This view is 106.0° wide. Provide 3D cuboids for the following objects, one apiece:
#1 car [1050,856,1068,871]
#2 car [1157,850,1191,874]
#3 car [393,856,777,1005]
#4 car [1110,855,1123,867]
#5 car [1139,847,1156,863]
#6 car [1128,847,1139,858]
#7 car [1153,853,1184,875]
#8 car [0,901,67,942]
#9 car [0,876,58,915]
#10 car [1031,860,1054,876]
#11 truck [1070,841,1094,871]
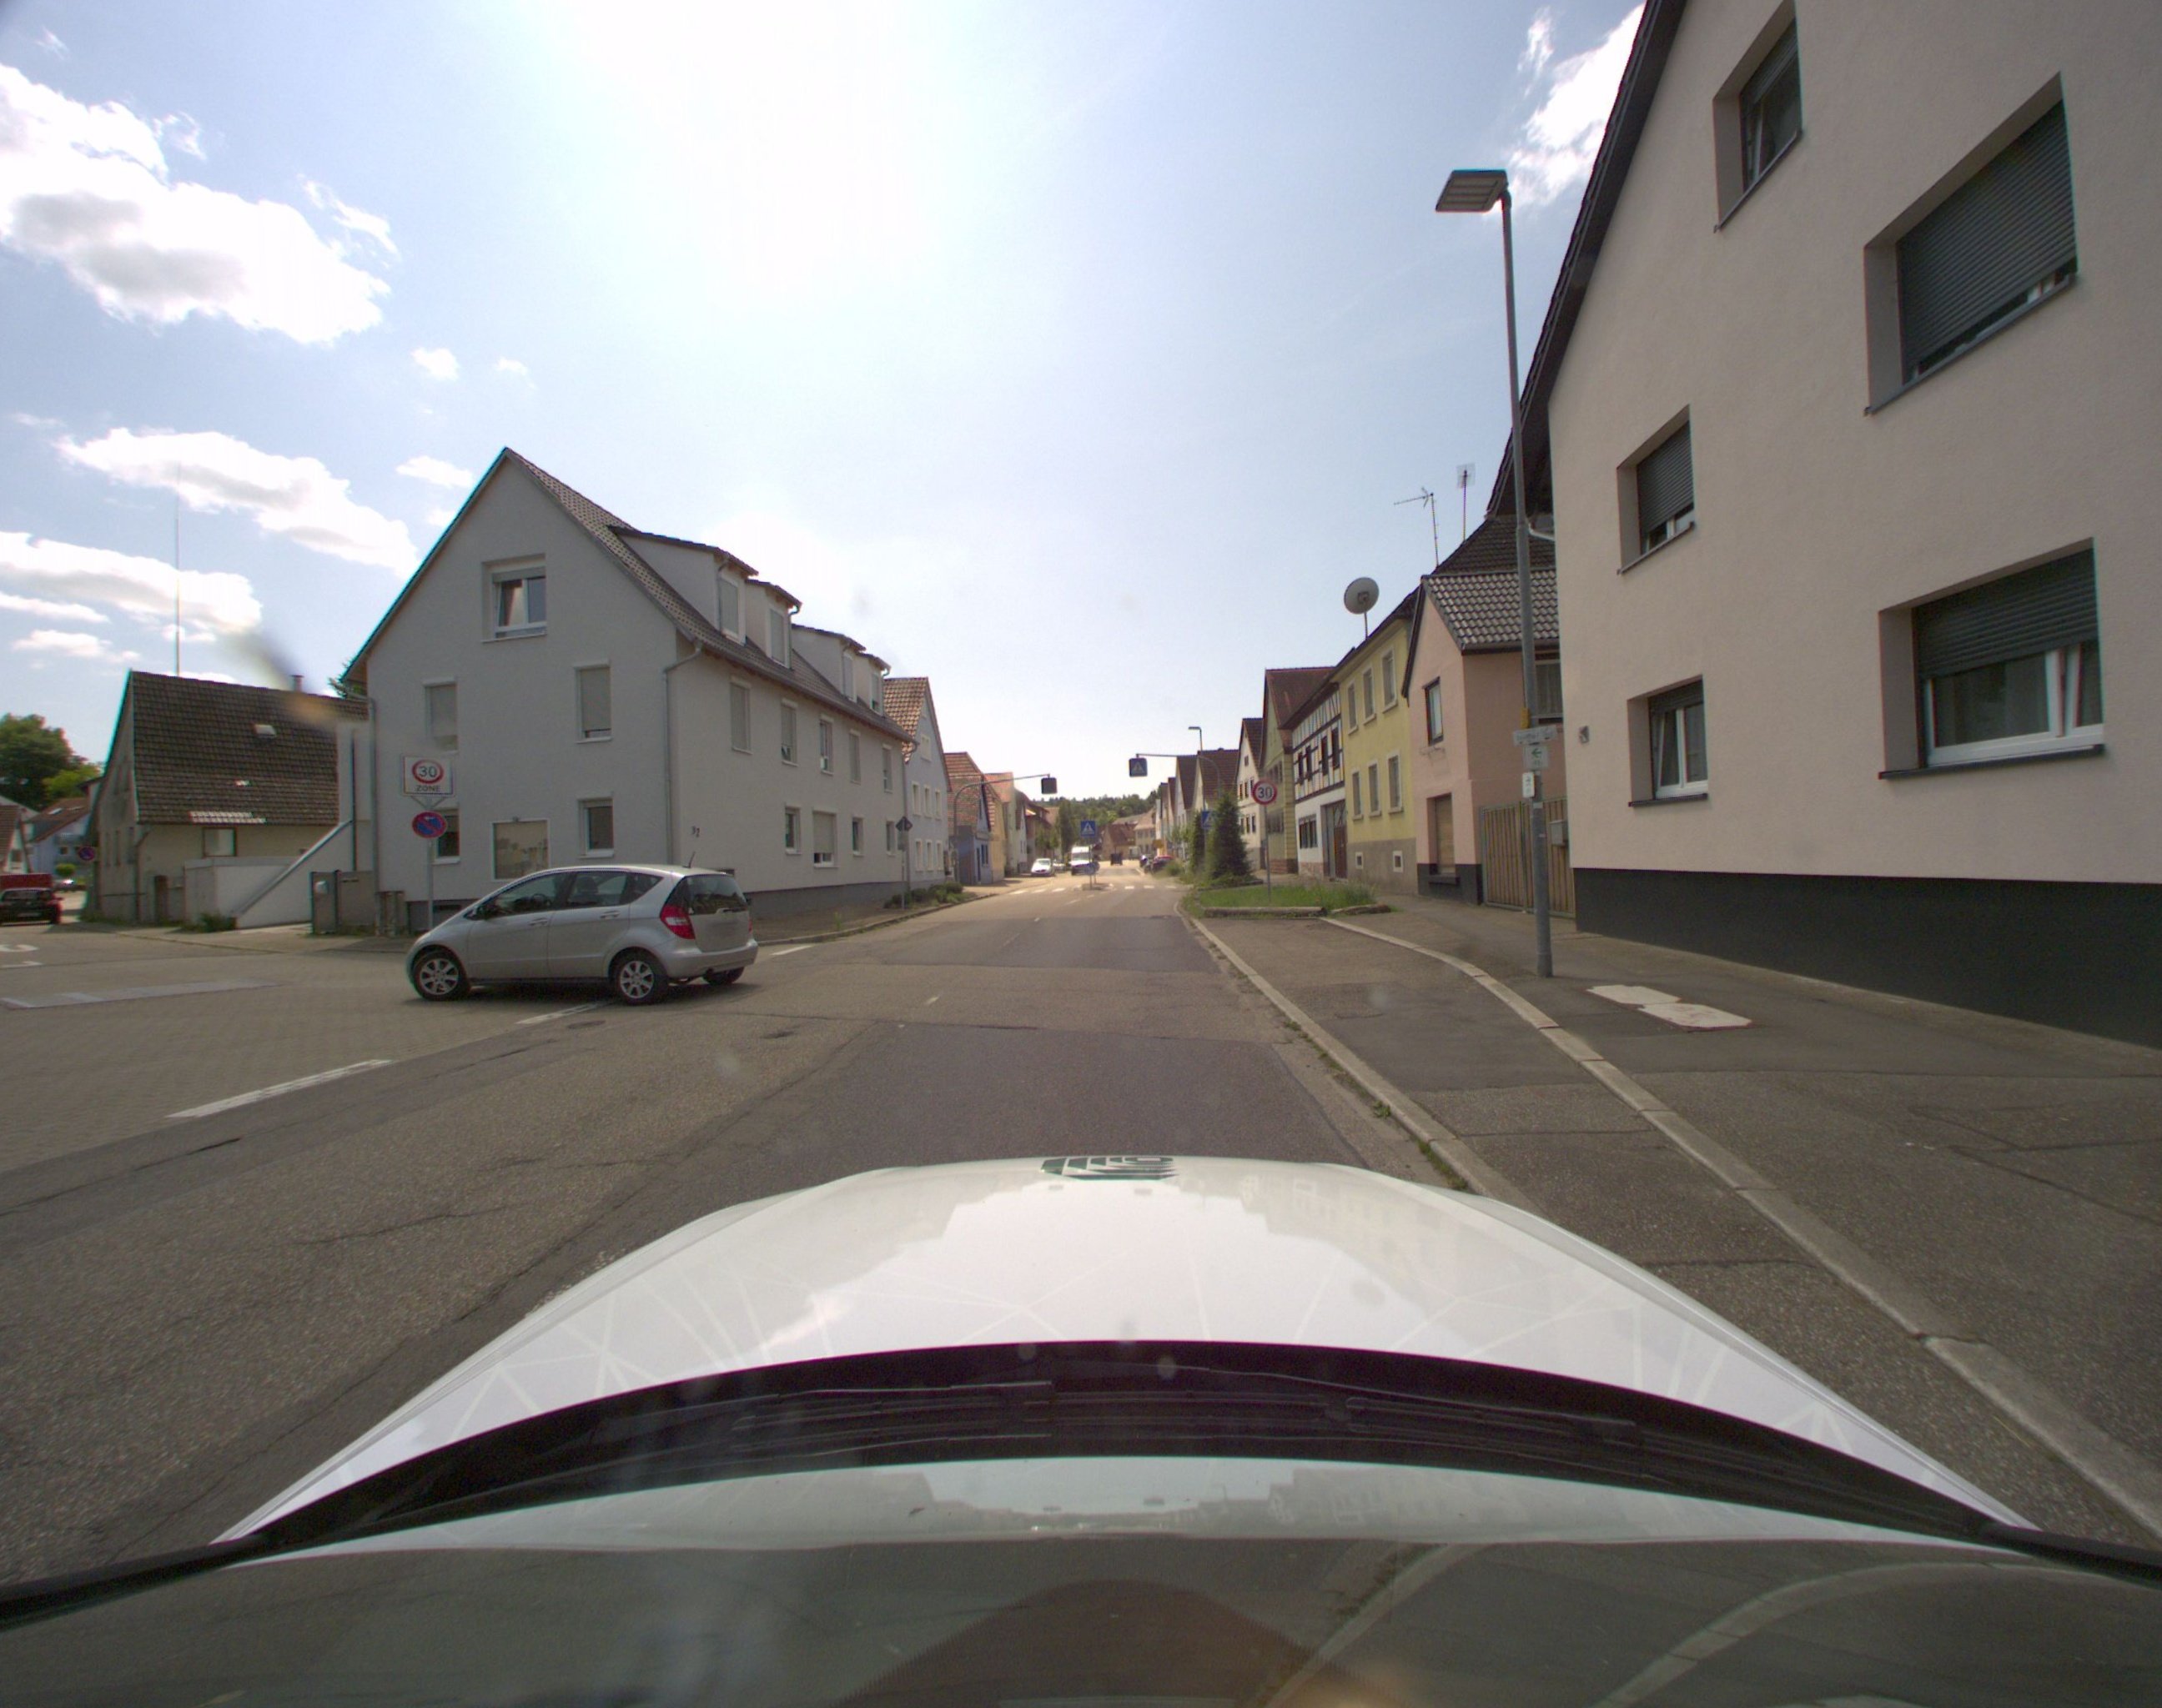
[{"bbox_3d":[-2.452,1.116,91.611,1.660,1.596,4.001,-1,-2,2],"label":"car"},{"bbox_3d":[6.368,0.583,55.907,1.986,1.508,4.001,-1,-2,2],"label":"car"},{"bbox_3d":[-5.992,0.866,10.116,3.697,1.643,1.820,0,-1,7],"label":"car"},{"bbox_3d":[5.680,1.182,130.315,1.986,1.816,4.000,-1,-2,1],"label":"car"},{"bbox_3d":[8.475,0.182,104.008,1.986,1.816,4.000,-1,-2,1],"label":"car"},{"bbox_3d":[10.123,-0.331,157.757,1.986,2.014,4.001,-1,-2,2],"label":"car"},{"bbox_3d":[6.423,0.748,60.405,1.986,1.508,4.001,-1,-2,2],"label":"car"},{"bbox_3d":[-42.128,2.676,32.733,3.431,1.530,1.500,-3,-3,35],"label":"car"},{"bbox_3d":[-46.672,1.849,36.111,3.431,1.635,1.406,-3,-3,35],"label":"car"},{"bbox_3d":[-3.364,1.260,71.319,1.989,1.321,3.704,-1,-2,-3],"label":"car"},{"bbox_3d":[0.132,0.269,75.462,1.986,2.537,6.740,-1,-2,1],"label":"truck"}]
